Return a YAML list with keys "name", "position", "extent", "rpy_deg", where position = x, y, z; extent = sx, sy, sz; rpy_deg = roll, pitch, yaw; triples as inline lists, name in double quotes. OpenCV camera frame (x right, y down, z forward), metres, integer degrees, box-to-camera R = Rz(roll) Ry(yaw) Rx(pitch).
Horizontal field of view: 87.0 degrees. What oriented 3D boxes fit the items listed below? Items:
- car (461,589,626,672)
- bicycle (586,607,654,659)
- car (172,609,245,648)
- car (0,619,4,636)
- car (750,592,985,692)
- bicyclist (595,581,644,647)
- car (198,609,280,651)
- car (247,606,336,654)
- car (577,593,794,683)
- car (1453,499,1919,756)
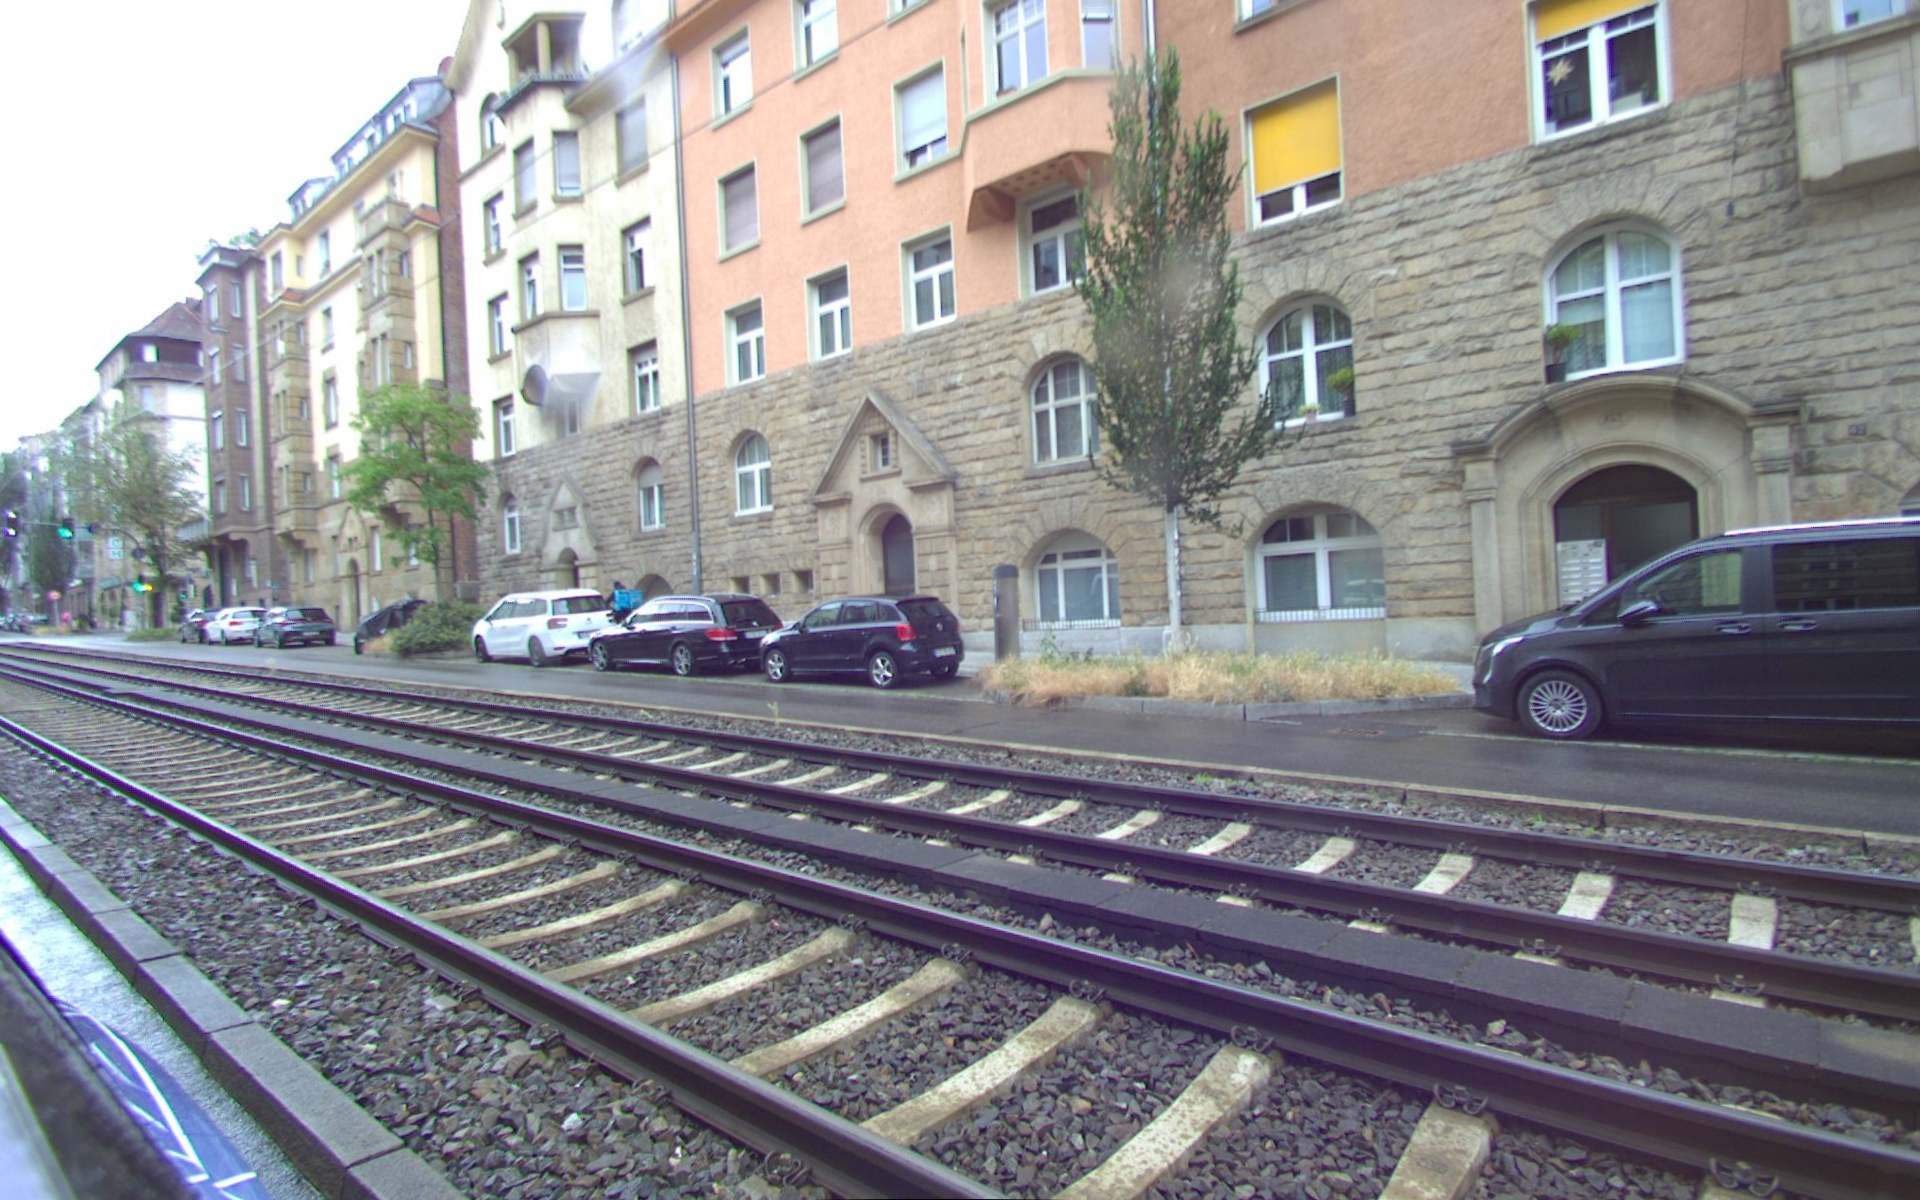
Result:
- name: "car"
  position: [-9.750, 0.660, 23.562]
  extent: [4.257, 1.684, 1.738]
  rpy_deg: [-1, 3, 40]
- name: "bicycle"
  position: [-8.488, 0.803, 25.222]
  extent: [2.052, 1.231, 0.685]
  rpy_deg: [-1, 0, 41]
- name: "car"
  position: [-32.061, 1.183, 43.144]
  extent: [3.712, 1.438, 1.737]
  rpy_deg: [-1, 3, 42]
- name: "car"
  position: [-81.605, 2.301, 84.807]
  extent: [4.255, 1.356, 1.771]
  rpy_deg: [-1, 0, 41]
- name: "car"
  position: [-1.594, 0.638, 16.845]
  extent: [3.690, 1.414, 1.739]
  rpy_deg: [-1, 2, 38]
- name: "bicyclist"
  position: [-8.491, 0.343, 25.215]
  extent: [0.774, 1.613, 0.883]
  rpy_deg: [-1, 0, 41]
- name: "car"
  position: [-28.369, 1.147, 39.798]
  extent: [4.043, 1.462, 1.737]
  rpy_deg: [-1, 3, 42]
- name: "car"
  position: [-23.734, 1.024, 35.899]
  extent: [3.712, 1.493, 1.695]
  rpy_deg: [-1, 3, 42]
- name: "car"
  position: [-5.469, 0.683, 19.855]
  extent: [4.593, 1.502, 1.738]
  rpy_deg: [-1, 2, 39]
- name: "car"
  position: [7.218, 0.206, 8.939]
  extent: [4.829, 1.945, 1.886]
  rpy_deg: [-1, 0, 40]
